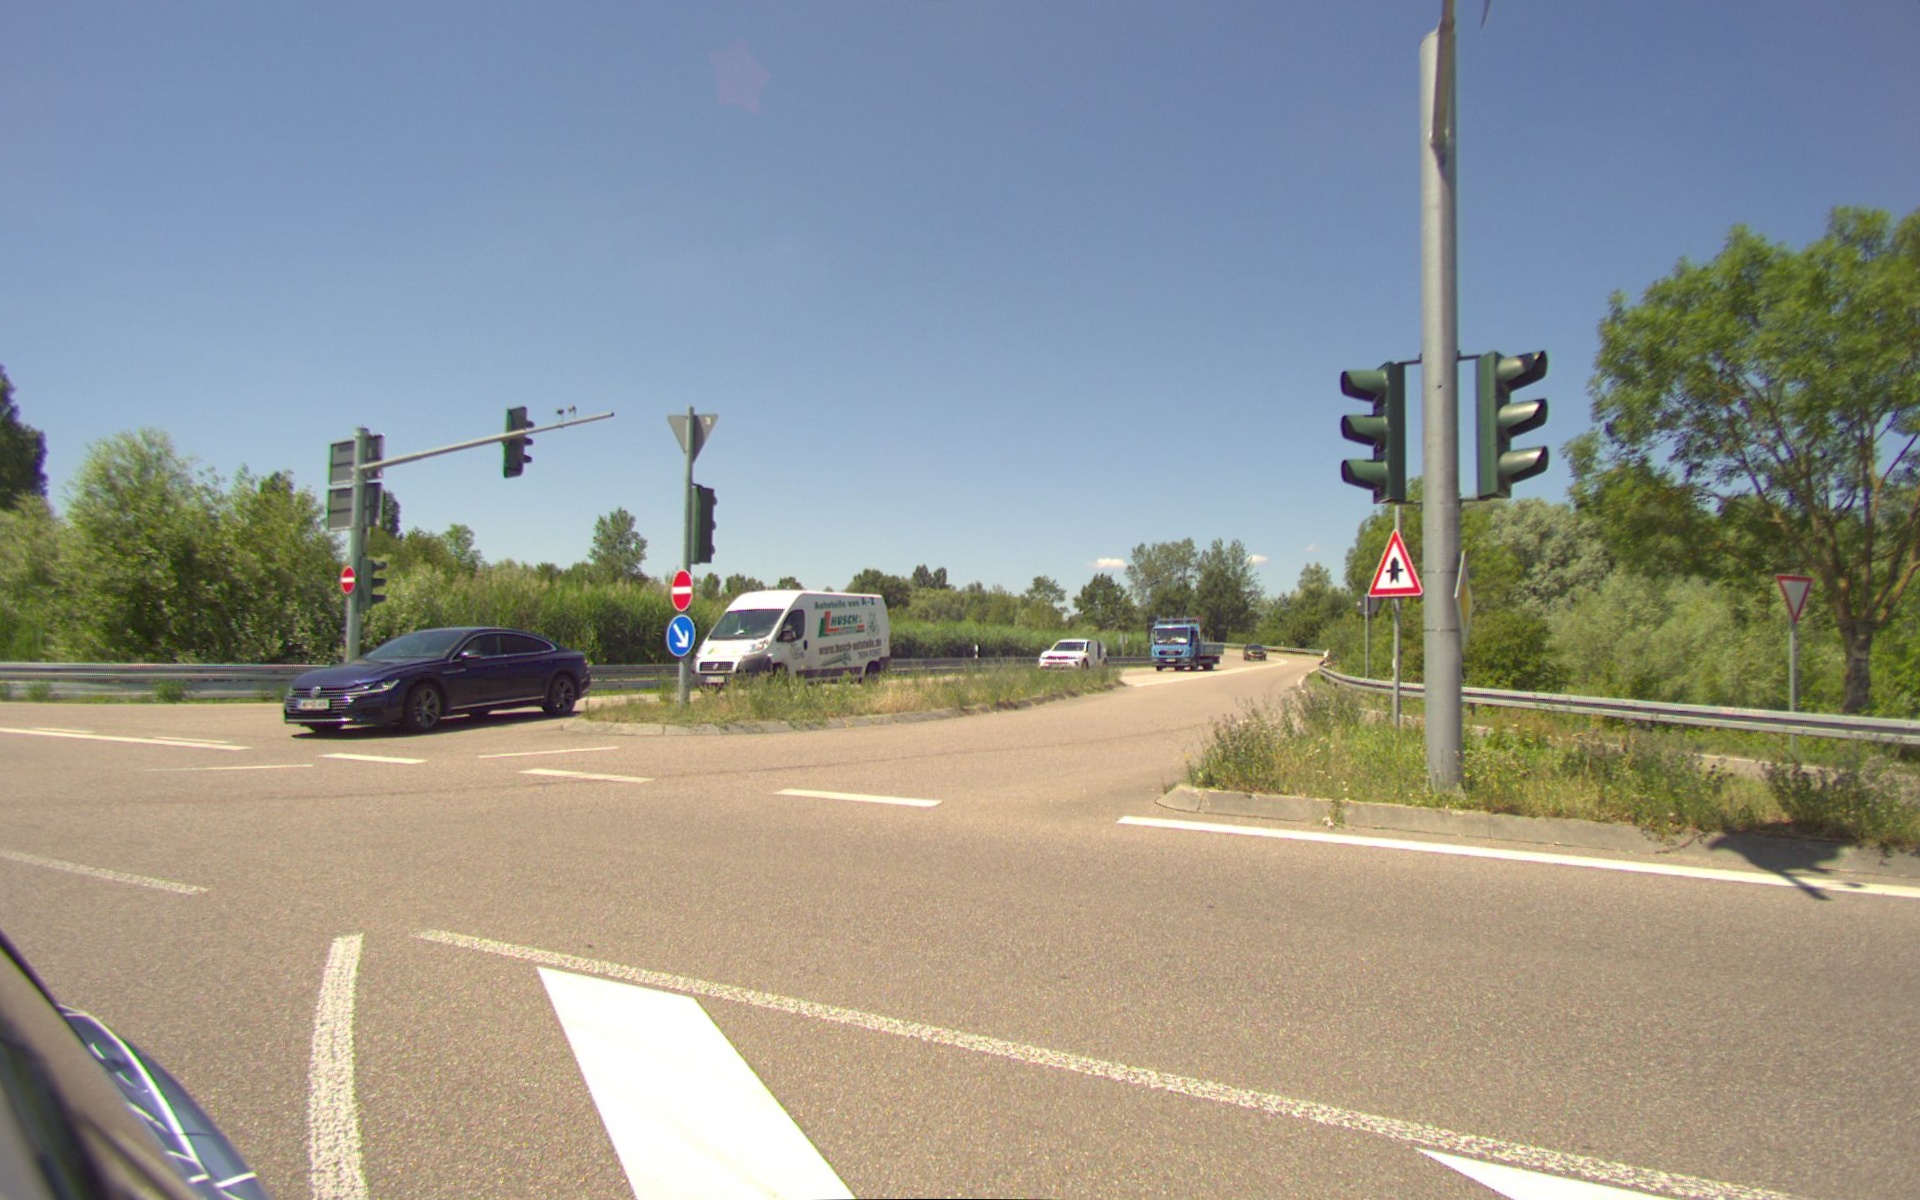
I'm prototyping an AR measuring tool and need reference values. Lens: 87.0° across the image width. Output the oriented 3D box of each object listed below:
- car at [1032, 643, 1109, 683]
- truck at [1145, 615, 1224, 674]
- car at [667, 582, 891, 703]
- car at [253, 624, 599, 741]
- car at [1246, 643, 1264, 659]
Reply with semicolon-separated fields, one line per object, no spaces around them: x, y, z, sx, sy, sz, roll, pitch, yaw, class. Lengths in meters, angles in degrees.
4.302;2.407;38.987;1.713;1.446;3.923;-1;-3;27;car
13.370;2.666;59.597;2.680;3.220;9.098;0;-3;25;truck
-4.091;1.082;24.277;2.218;2.514;5.927;-2;-4;26;car
-7.496;1.093;14.822;1.833;1.434;4.536;-1;-2;17;car
29.472;5.104;101.097;1.575;1.619;3.447;0;-3;20;car
